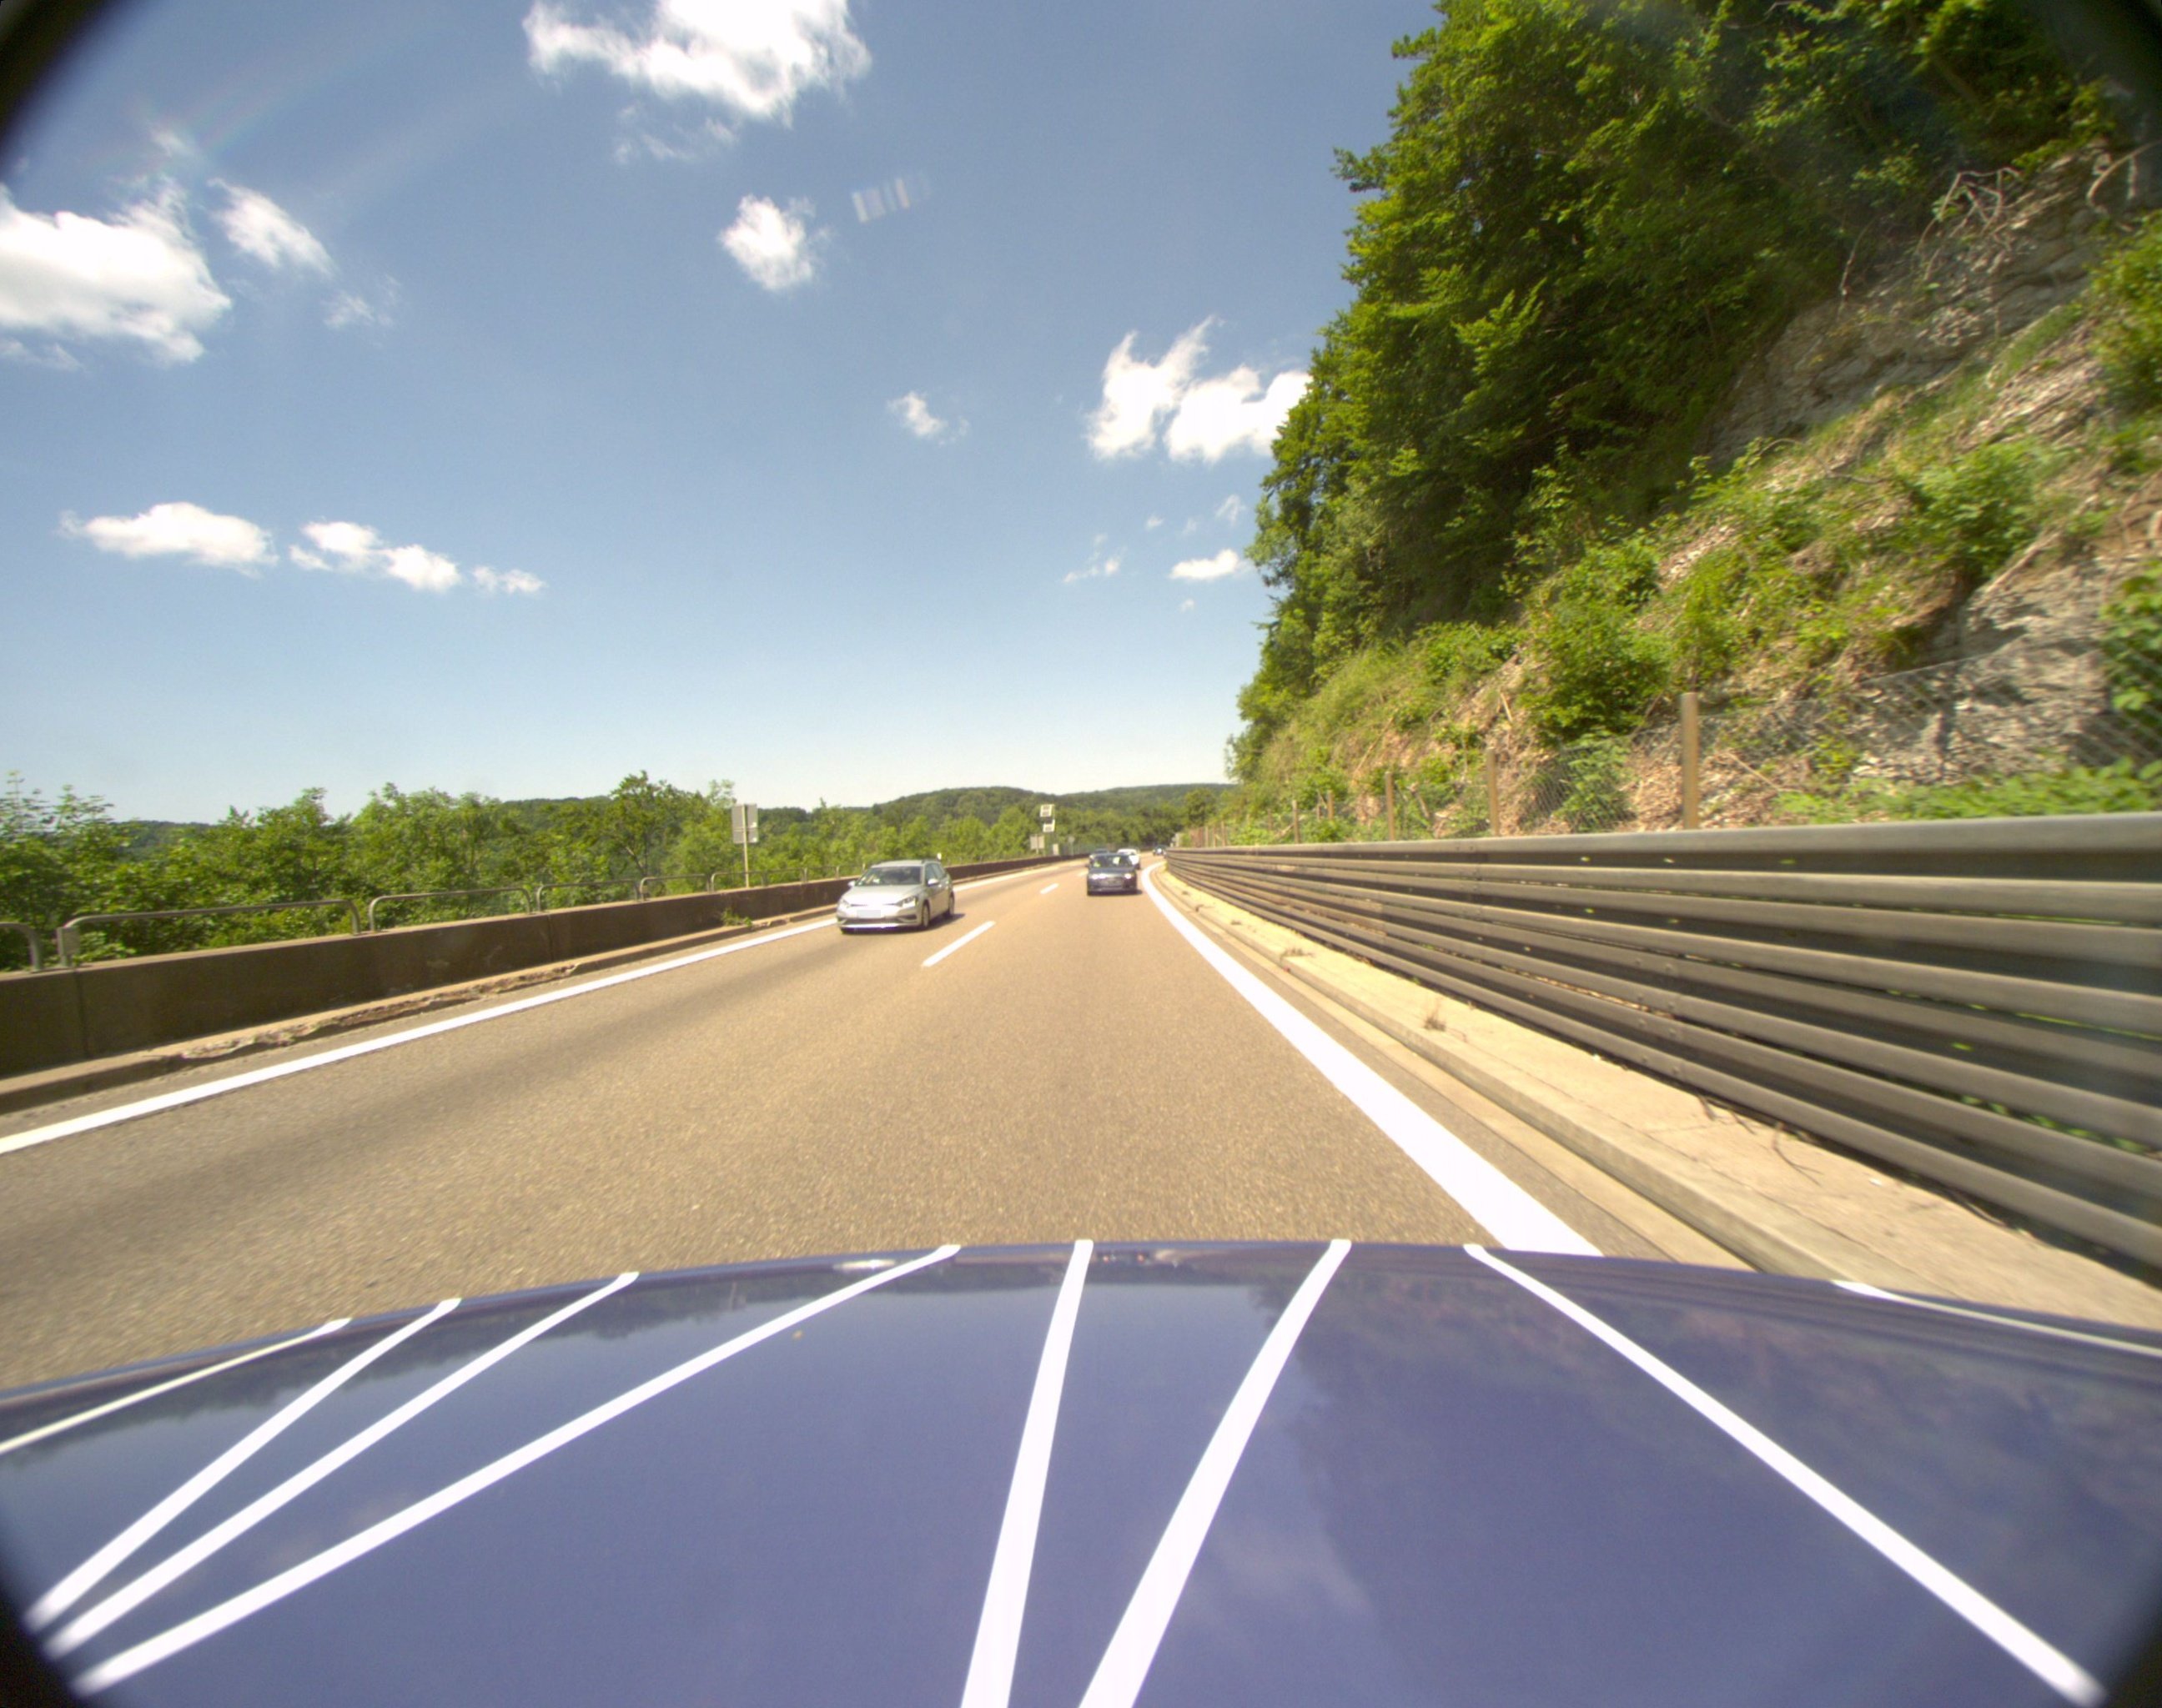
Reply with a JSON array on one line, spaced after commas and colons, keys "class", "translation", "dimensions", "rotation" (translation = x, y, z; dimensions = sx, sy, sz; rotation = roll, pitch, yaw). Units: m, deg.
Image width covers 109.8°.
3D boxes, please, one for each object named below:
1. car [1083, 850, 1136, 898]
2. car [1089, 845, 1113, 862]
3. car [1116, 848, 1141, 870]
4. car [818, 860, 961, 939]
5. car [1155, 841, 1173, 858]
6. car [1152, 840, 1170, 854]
[{"class": "car", "translation": [1.066, 0.631, 26.472], "dimensions": [1.668, 1.415, 4.044], "rotation": [-1, 1, 4]}, {"class": "car", "translation": [1.964, -0.056, 74.784], "dimensions": [1.874, 1.565, 4.002], "rotation": [-2, 1, 8]}, {"class": "car", "translation": [3.459, 0.310, 55.031], "dimensions": [1.702, 1.432, 4.044], "rotation": [-1, 1, 4]}, {"class": "car", "translation": [-4.067, 0.903, 16.921], "dimensions": [1.972, 1.370, 4.293], "rotation": [-1, 1, 1]}, {"class": "car", "translation": [10.374, -0.536, 95.055], "dimensions": [1.997, 2.002, 4.002], "rotation": [-2, 1, 8]}, {"class": "car", "translation": [11.835, -1.008, 112.277], "dimensions": [1.996, 2.002, 4.004], "rotation": [-2, 1, 16]}]
